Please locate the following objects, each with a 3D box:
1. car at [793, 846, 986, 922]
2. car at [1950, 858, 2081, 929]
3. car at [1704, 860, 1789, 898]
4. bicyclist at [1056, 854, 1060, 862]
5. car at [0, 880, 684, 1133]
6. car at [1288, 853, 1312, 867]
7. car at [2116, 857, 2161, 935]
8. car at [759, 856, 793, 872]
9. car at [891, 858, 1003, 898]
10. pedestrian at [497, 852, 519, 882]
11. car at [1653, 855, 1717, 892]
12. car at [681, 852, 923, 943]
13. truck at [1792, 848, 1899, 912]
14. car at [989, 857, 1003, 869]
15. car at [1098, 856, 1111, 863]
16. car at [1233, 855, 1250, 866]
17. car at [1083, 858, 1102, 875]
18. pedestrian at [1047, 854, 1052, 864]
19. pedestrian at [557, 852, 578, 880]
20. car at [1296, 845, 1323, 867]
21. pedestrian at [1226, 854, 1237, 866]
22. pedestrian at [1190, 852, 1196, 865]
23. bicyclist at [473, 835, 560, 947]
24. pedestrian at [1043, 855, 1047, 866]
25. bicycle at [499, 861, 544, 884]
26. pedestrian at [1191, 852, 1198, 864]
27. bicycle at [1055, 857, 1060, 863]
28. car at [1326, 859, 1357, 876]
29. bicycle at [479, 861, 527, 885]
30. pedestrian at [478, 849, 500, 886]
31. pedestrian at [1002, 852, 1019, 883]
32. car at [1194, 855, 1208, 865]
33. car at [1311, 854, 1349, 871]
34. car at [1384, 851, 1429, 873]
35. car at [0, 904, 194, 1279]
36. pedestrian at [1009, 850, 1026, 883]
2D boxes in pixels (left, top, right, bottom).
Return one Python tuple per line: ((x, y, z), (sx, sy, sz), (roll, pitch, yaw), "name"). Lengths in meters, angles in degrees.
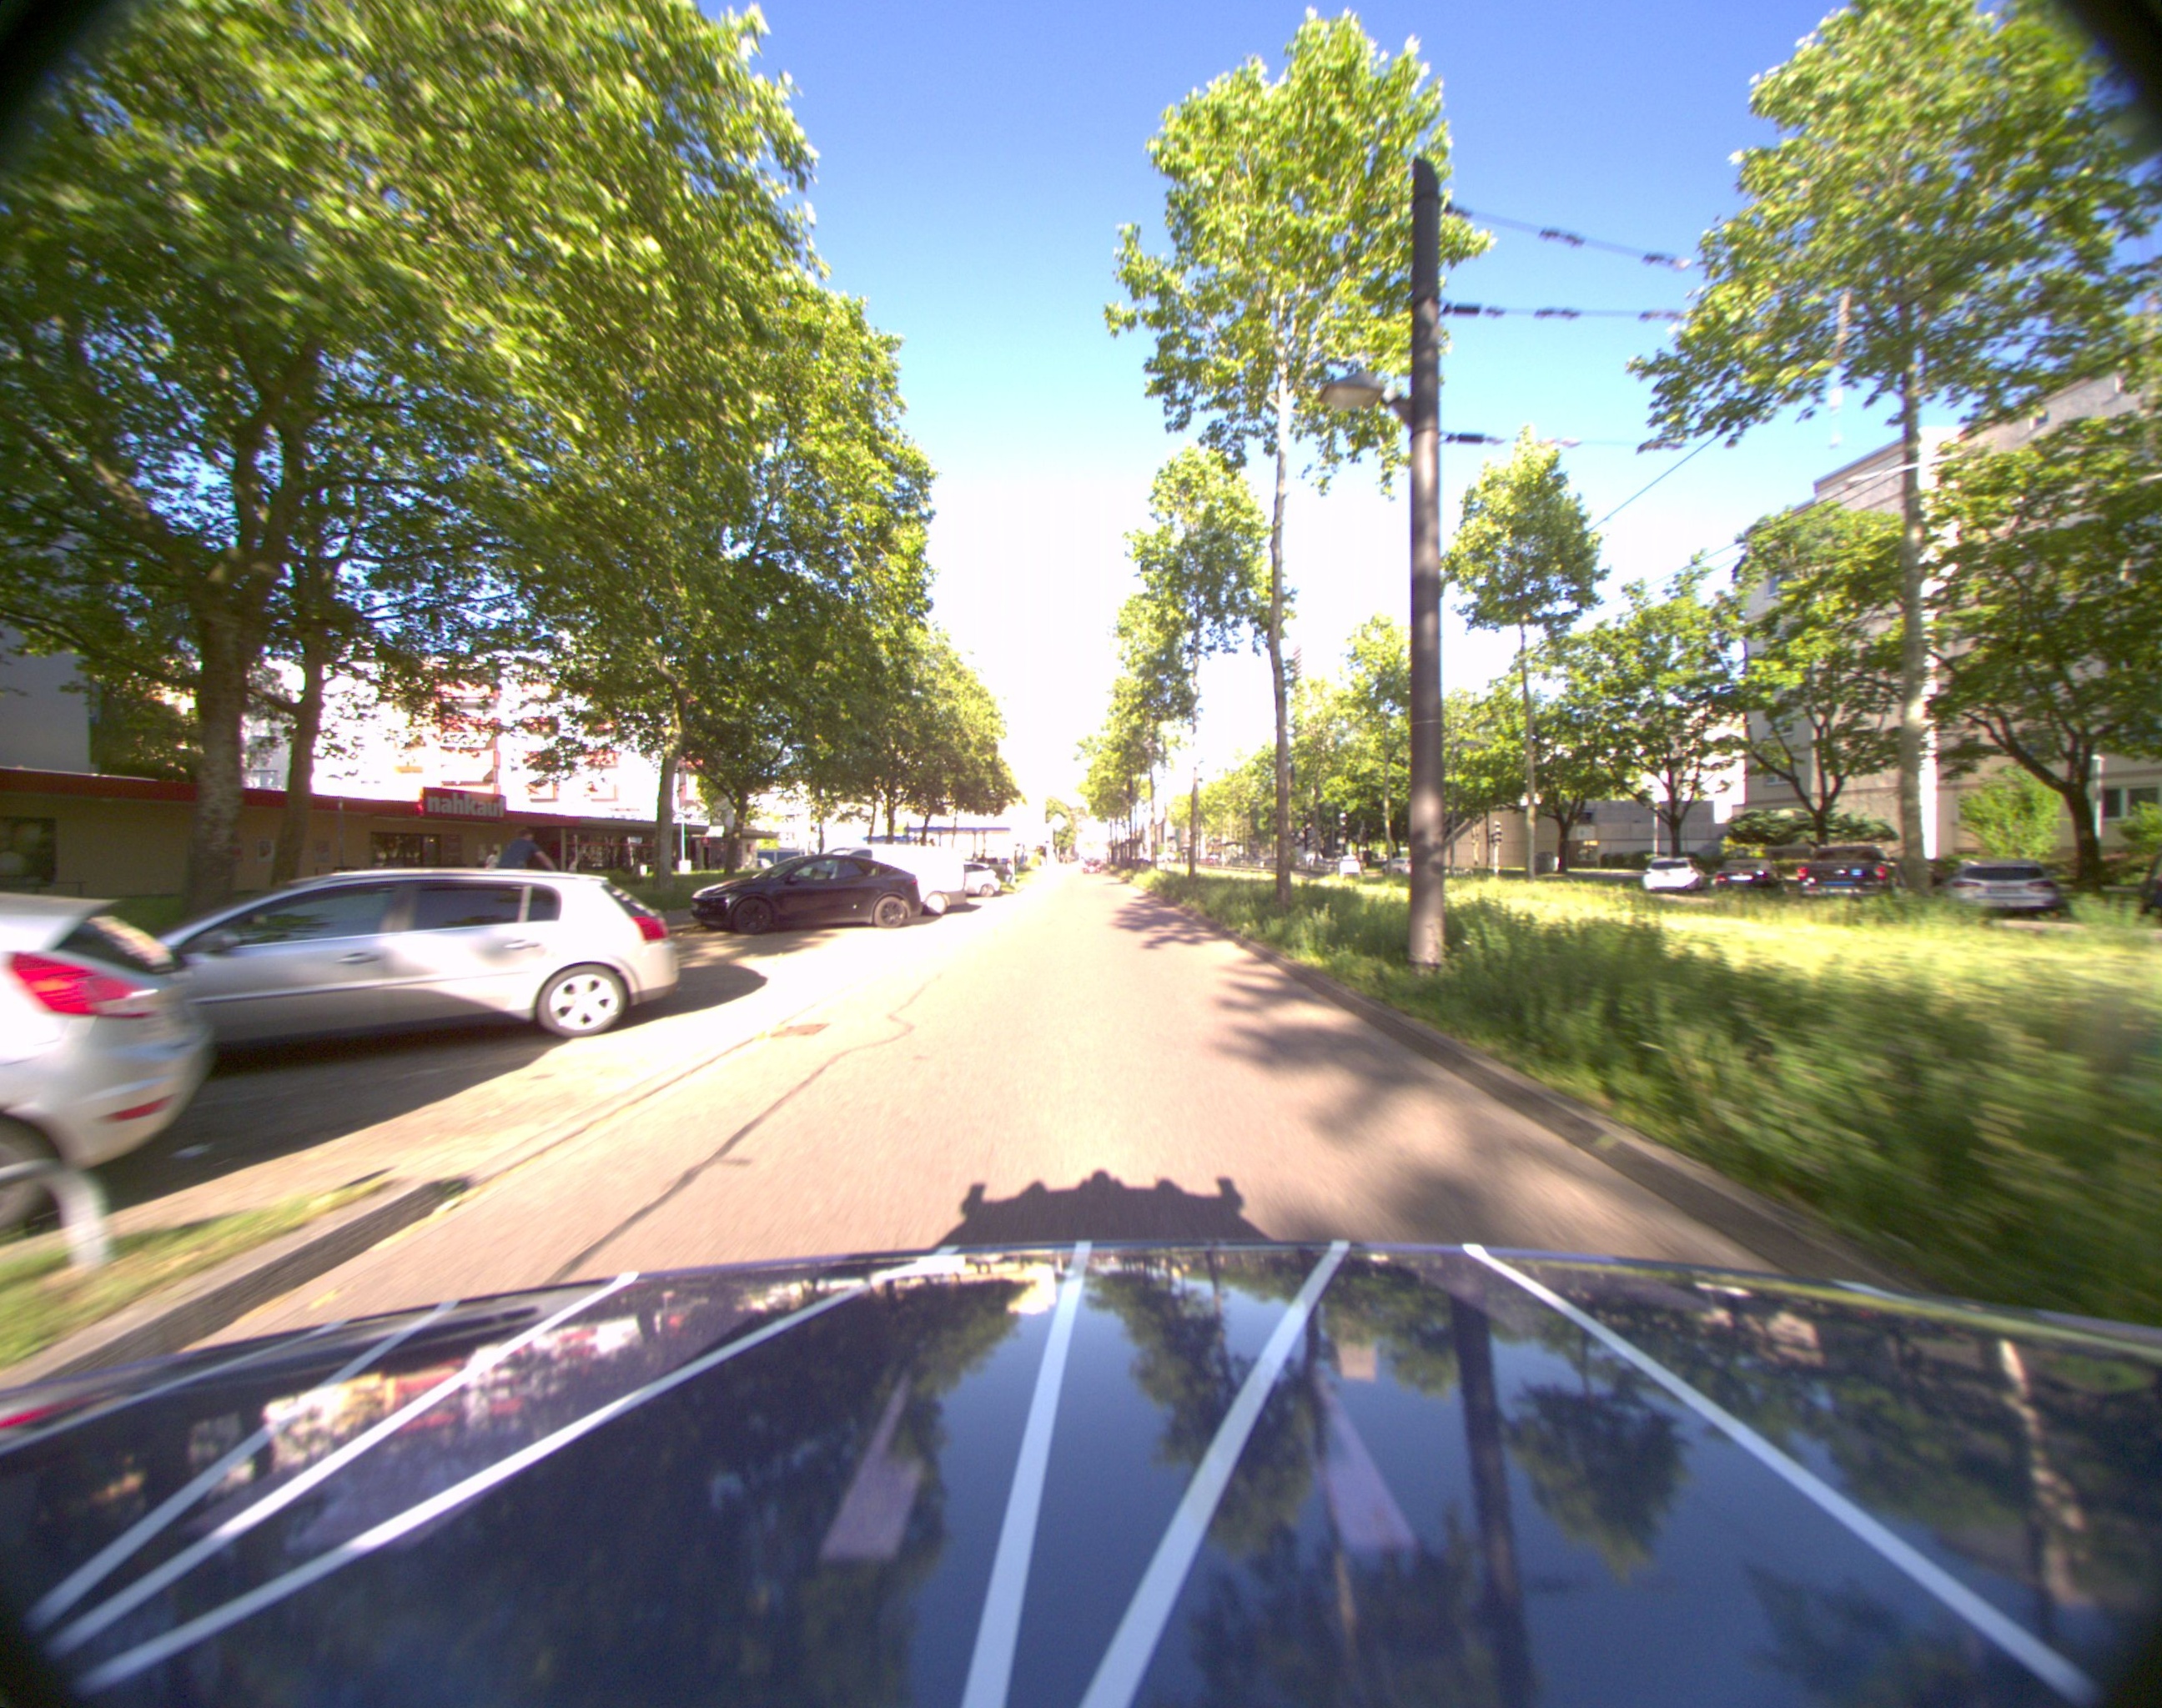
((-5.071, 0.742, 20.473), (4.680, 1.842, 1.825), (1, 0, -39), "car")
((23.973, 0.930, 19.458), (4.092, 1.636, 1.647), (0, -1, -33), "car")
((24.451, 0.930, 27.880), (3.834, 1.238, 1.835), (3, -2, -41), "car")
((-3.943, 0.655, 128.292), (0.678, 1.466, 0.936), (0, 0, 0), "bicyclist")
((-5.833, 0.982, 6.306), (4.194, 1.404, 1.715), (1, 0, -42), "car")
((24.479, 0.672, 85.145), (1.598, 1.480, 4.020), (0, 0, 0), "car")
((24.263, 0.863, 16.379), (4.094, 1.636, 1.647), (0, -3, -45), "car")
((-31.385, 1.004, 78.367), (1.874, 1.495, 4.113), (-1, 0, 0), "car")
((-5.342, 0.974, 30.409), (4.006, 1.461, 1.756), (2, 0, -30), "car")
((-27.220, 0.631, 36.110), (0.533, 1.422, 0.715), (0, 0, -4), "pedestrian")
((24.727, 0.760, 31.074), (1.835, 1.426, 3.834), (0, 0, 42), "car")
((-5.846, 0.831, 16.246), (4.512, 1.695, 1.756), (1, 0, -40), "car")
((23.833, 0.734, 23.656), (4.092, 1.765, 1.647), (-2, 2, -35), "truck")
((-10.913, 1.165, 97.574), (1.725, 1.454, 4.004), (0, 0, -5), "car")
((5.367, 1.337, 173.665), (1.545, 1.522, 3.597), (-3, 1, -19), "car")
((21.705, 0.880, 102.854), (1.718, 1.537, 3.934), (0, 0, 3), "car")
((1.112, 1.136, 70.729), (1.619, 1.536, 4.278), (-1, 0, 2), "car")
((-5.607, 0.869, 135.078), (0.790, 1.817, 1.032), (1, 1, -16), "pedestrian")
((-28.565, 0.668, 42.289), (0.673, 1.575, 0.715), (0, 0, -4), "pedestrian")
((24.087, 0.207, 80.158), (1.718, 2.249, 3.933), (0, 0, 0), "car")
((15.953, 0.625, 80.475), (0.838, 1.253, 0.801), (-1, 0, 30), "pedestrian")
((15.920, 0.620, 107.711), (0.722, 1.856, 0.637), (-1, 0, 2), "pedestrian")
((-9.101, 0.575, 12.289), (0.624, 1.730, 1.023), (0, 0, 1), "bicyclist")
((-5.656, 1.080, 119.376), (0.605, 1.691, 0.552), (-1, 0, 5), "pedestrian")
((-30.151, 0.985, 40.962), (0.598, 1.172, 1.853), (-1, 0, 22), "bicycle")
((15.964, 0.619, 106.992), (0.885, 1.680, 0.754), (-1, 0, 2), "pedestrian")
((-3.953, 1.008, 128.276), (0.684, 0.925, 1.736), (0, 0, 0), "bicycle")
((23.765, 1.205, 69.335), (1.718, 1.537, 3.934), (0, 0, 4), "car")
((-29.988, 0.981, 39.431), (0.597, 1.172, 1.854), (-1, 0, 29), "bicycle")
((-27.689, 0.642, 35.522), (0.496, 1.690, 0.715), (0, 0, -4), "pedestrian")
((-3.932, 0.737, 42.267), (0.714, 1.696, 0.652), (1, 1, -33), "pedestrian")
((18.560, 0.943, 117.576), (1.609, 1.419, 3.536), (0, 0, -1), "car")
((20.765, 0.678, 63.614), (1.998, 1.381, 4.169), (0, 0, 3), "car")
((24.229, 0.596, 56.663), (1.718, 1.537, 4.201), (0, 0, 2), "car")
((-5.896, 0.959, 2.387), (1.583, 1.365, 3.948), (1, 0, 44), "car")
((-3.687, 0.732, 44.348), (0.799, 1.874, 0.928), (-1, 0, 5), "pedestrian")
